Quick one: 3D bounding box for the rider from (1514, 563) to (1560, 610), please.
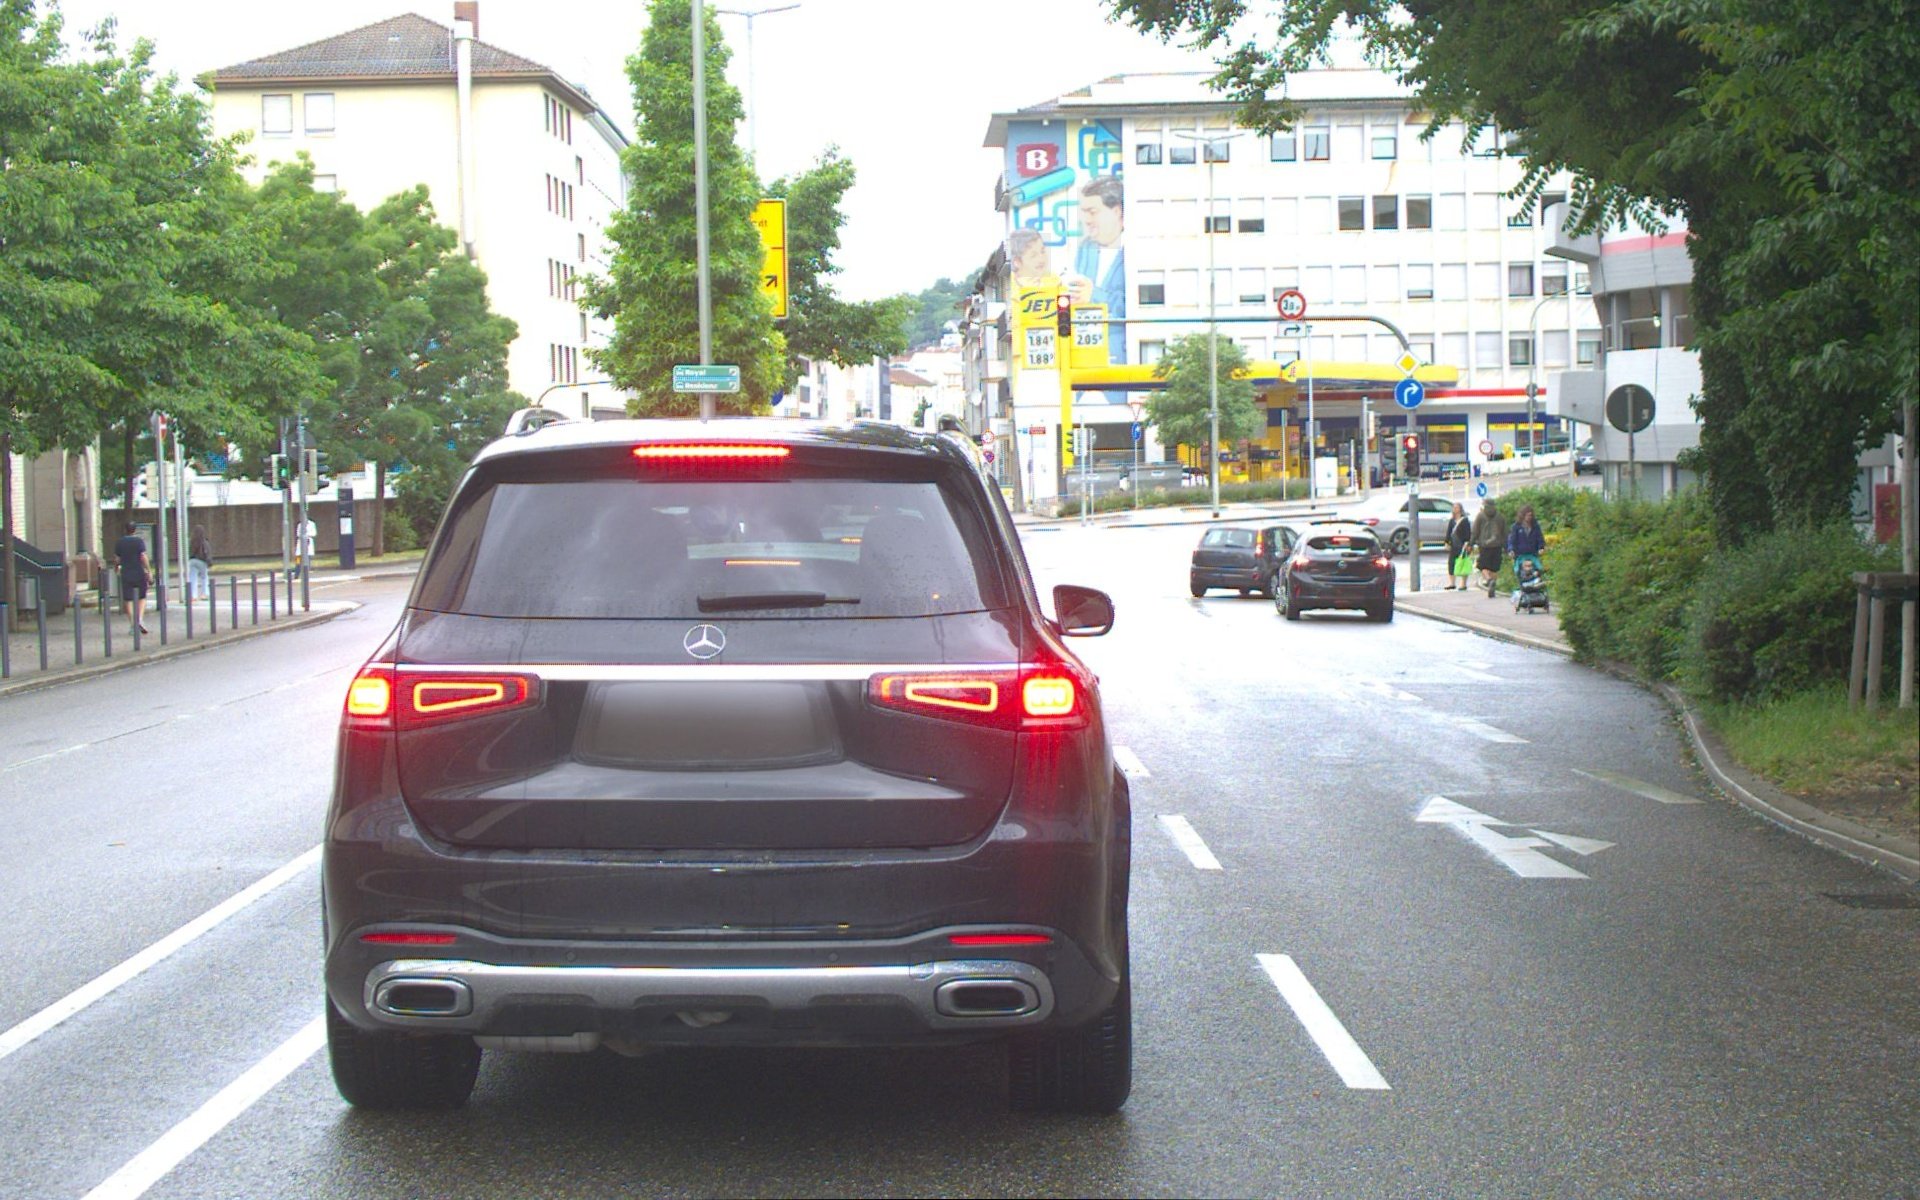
[{"bbox_3d":[9.217,-0.214,54.898,0.694,0.737,0.632,1,0,8],"label":"rider"}]

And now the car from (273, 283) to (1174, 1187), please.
[{"bbox_3d":[-0.589,0.288,9.737,1.993,2.007,4.000,1,1,-2],"label":"car"}]

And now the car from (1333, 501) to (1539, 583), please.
[{"bbox_3d":[12.062,-1.492,87.247,4.803,2.006,2.001,-1,2,-8],"label":"car"}]

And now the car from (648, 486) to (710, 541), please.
[{"bbox_3d":[-10.054,-3.095,123.295,1.993,1.868,5.142,1,1,-2],"label":"car"}]

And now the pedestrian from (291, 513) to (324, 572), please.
[{"bbox_3d":[-16.373,-1.434,86.240,0.711,1.457,0.598,1,0,-2],"label":"pedestrian"}]

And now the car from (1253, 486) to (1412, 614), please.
[{"bbox_3d":[6.023,-0.834,56.016,1.993,2.007,4.001,0,2,-2],"label":"car"}]

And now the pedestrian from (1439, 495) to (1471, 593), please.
[{"bbox_3d":[9.725,-1.104,67.518,0.519,1.904,0.556,1,0,0],"label":"pedestrian"}]

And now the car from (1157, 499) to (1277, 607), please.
[{"bbox_3d":[4.974,-0.912,66.953,1.993,2.007,4.000,1,1,0],"label":"car"}]

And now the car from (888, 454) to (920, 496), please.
[{"bbox_3d":[-3.578,-7.989,219.985,1.993,2.005,4.004,1,12,-2],"label":"car"}]

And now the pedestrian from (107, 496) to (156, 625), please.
[{"bbox_3d":[-13.106,-0.625,54.395,0.587,2.007,0.749,1,0,-2],"label":"pedestrian"}]

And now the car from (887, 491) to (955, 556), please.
[{"bbox_3d":[-1.266,-2.442,110.141,1.993,2.007,4.000,1,1,-3],"label":"car"}]

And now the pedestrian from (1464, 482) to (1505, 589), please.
[{"bbox_3d":[9.561,-1.169,62.647,0.620,1.929,0.610,1,0,0],"label":"pedestrian"}]

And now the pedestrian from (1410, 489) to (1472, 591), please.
[{"bbox_3d":[9.581,-1.201,68.493,1.025,2.007,0.999,1,1,-2],"label":"pedestrian"}]

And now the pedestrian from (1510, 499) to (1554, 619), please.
[{"bbox_3d":[9.249,-0.666,55.615,0.662,1.911,0.728,1,0,9],"label":"pedestrian"}]
